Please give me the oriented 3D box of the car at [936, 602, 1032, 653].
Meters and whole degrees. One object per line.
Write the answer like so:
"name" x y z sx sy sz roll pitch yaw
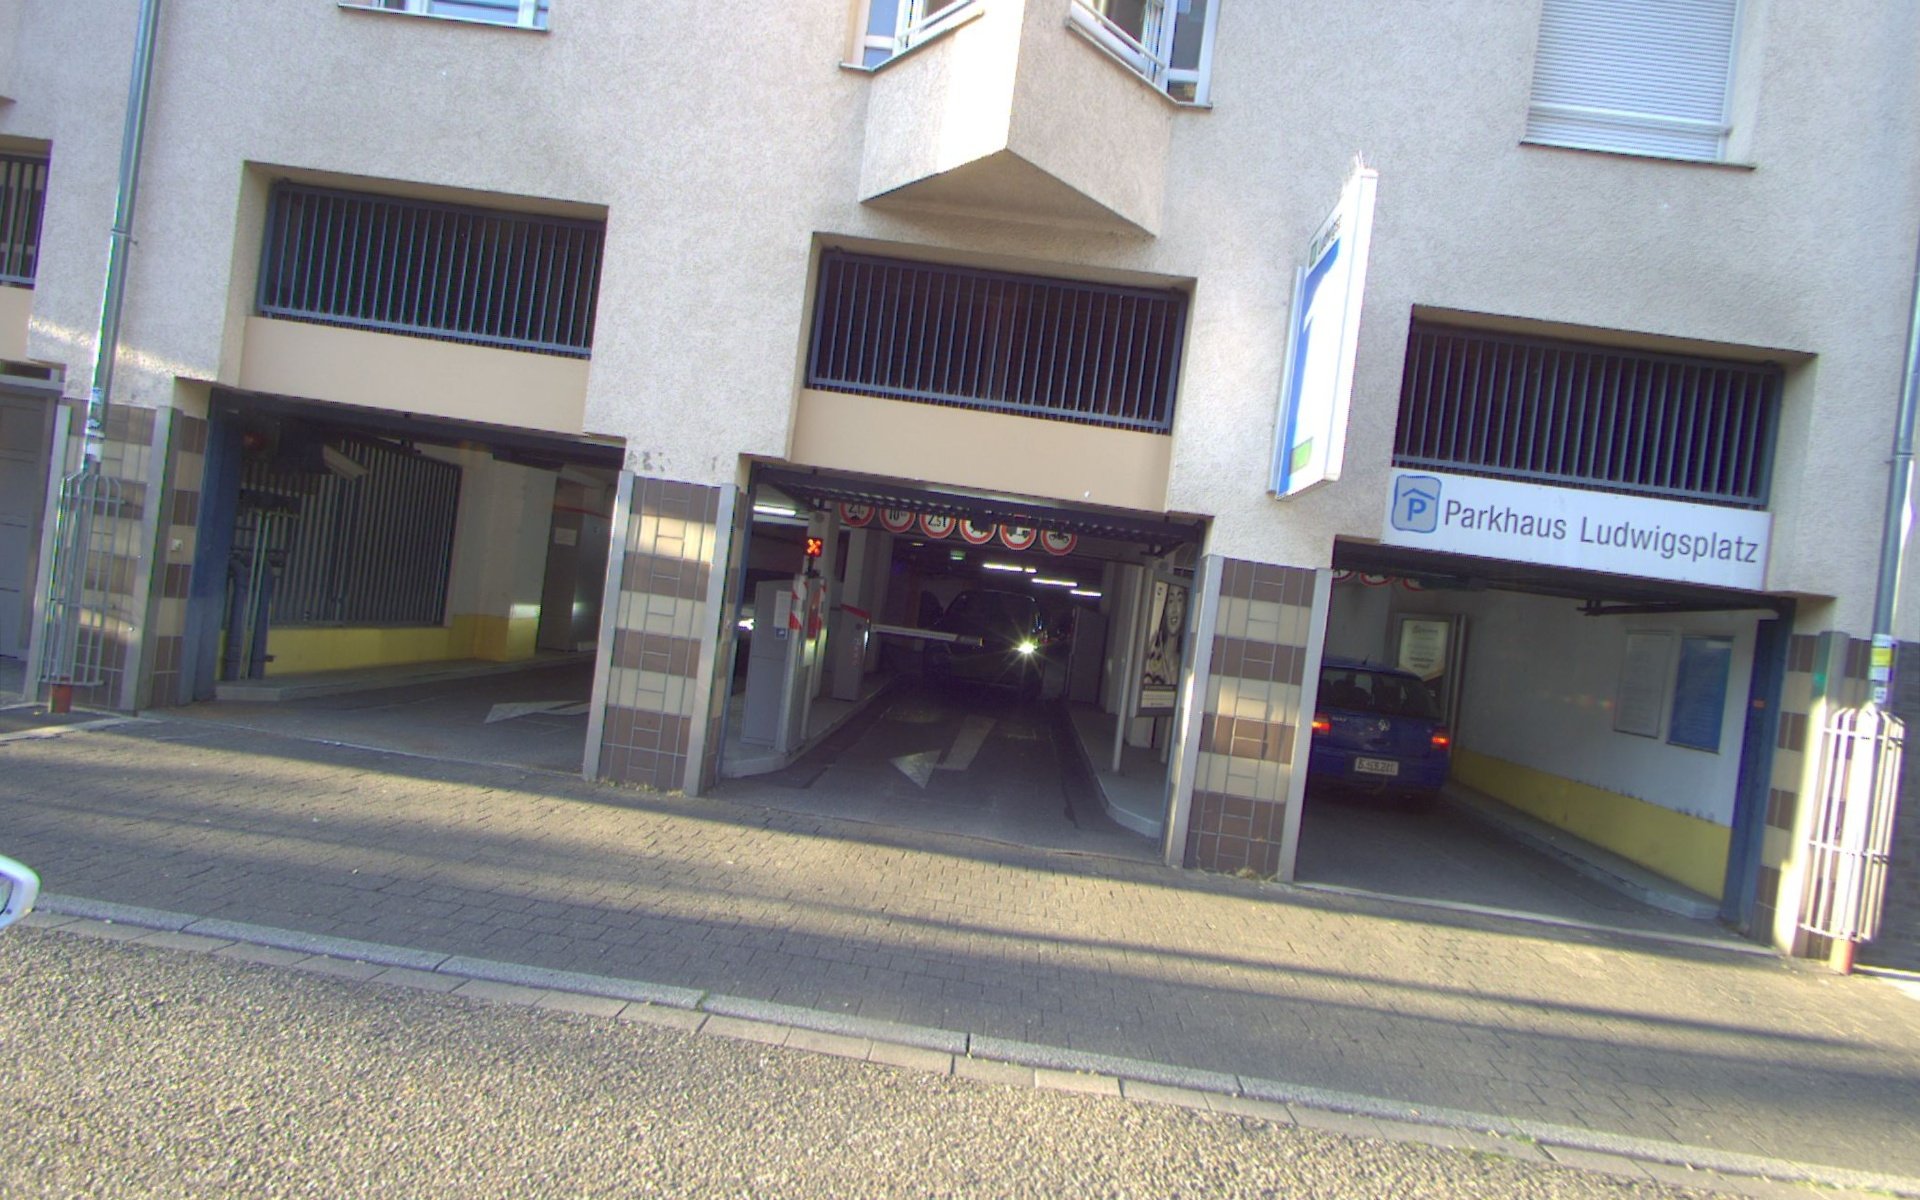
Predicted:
"car" 0.853 1.012 37.895 1.593 1.409 3.845 7 1 -33

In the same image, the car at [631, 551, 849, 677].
"car" -3.401 0.243 16.495 1.784 1.592 4.252 7 0 12

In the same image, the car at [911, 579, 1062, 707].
"car" 0.590 0.686 16.888 1.855 1.644 4.302 8 0 8

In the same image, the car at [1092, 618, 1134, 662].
"car" 6.710 1.732 44.259 1.531 1.638 3.881 7 1 8

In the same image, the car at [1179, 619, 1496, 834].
"car" 3.907 1.205 11.265 1.663 1.583 4.113 7 2 -3
